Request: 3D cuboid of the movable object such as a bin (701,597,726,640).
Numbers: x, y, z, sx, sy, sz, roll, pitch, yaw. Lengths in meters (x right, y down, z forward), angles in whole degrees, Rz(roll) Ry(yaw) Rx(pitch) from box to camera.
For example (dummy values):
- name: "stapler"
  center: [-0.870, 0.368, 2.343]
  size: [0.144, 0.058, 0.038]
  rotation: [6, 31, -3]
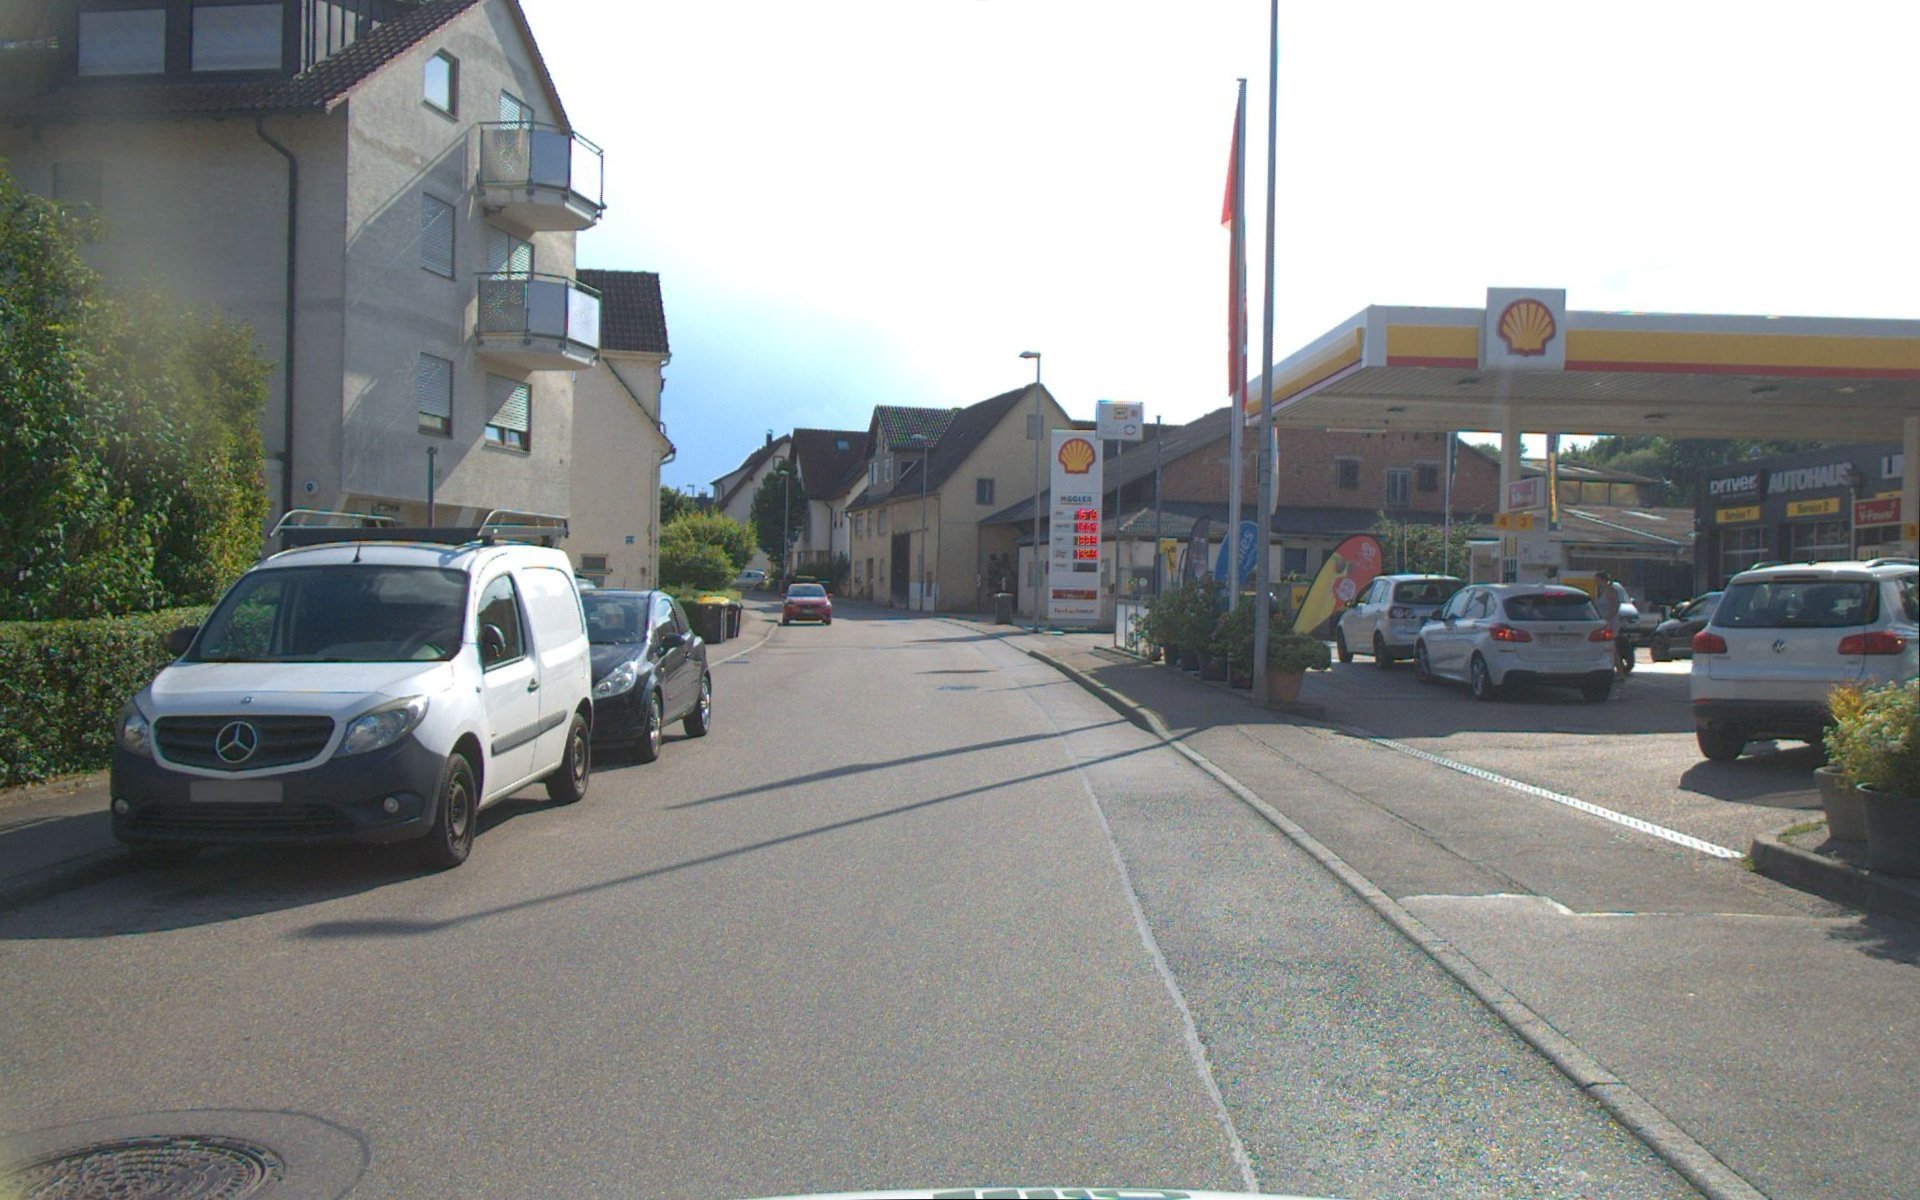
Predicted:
- name: "movable object such as a bin"
  center: [-6.410, 0.477, 43.006]
  size: [0.576, 1.103, 0.508]
  rotation: [-1, 1, -2]

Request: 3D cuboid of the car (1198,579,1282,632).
- name: "car"
  center: [8.303, 0.134, 49.317]
  size: [1.546, 1.452, 4.379]
  rotation: [2, 1, -3]

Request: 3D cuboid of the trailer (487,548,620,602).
- name: "trailer"
  center: [-8.139, -0.481, 33.280]
  size: [1.302, 0.870, 2.893]
  rotation: [3, -1, 16]

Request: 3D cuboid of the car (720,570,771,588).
- name: "car"
  center: [-16.715, -1.618, 128.952]
  size: [3.914, 1.376, 1.707]
  rotation: [1, 1, -10]

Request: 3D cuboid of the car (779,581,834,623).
- name: "car"
  center: [-5.594, 0.054, 60.104]
  size: [1.677, 1.460, 3.771]
  rotation: [-1, 0, -10]

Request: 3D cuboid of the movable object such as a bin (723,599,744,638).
- name: "movable object such as a bin"
  center: [-6.208, 0.513, 45.362]
  size: [0.521, 1.040, 0.457]
  rotation: [-1, 1, -2]

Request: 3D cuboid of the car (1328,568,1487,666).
- name: "car"
  center: [7.794, 0.245, 29.165]
  size: [1.638, 1.605, 3.998]
  rotation: [0, 1, -1]

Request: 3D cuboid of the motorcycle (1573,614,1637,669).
- name: "motorcycle"
  center: [10.949, 0.690, 28.120]
  size: [0.385, 0.889, 1.812]
  rotation: [1, 0, 1]

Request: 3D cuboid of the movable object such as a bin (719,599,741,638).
- name: "movable object such as a bin"
  center: [-6.227, 0.494, 44.850]
  size: [0.521, 1.040, 0.457]
  rotation: [-1, 1, -2]

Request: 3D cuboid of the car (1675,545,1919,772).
- name: "car"
  center: [7.919, 0.403, 14.432]
  size: [4.046, 1.703, 1.650]
  rotation: [-2, 1, -44]

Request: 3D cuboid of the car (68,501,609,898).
- name: "car"
  center: [-3.437, 0.455, 10.065]
  size: [1.681, 1.905, 4.192]
  rotation: [0, 1, 0]

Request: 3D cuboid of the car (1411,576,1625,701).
- name: "car"
  center: [7.857, 0.475, 23.667]
  size: [1.638, 1.605, 3.998]
  rotation: [0, 1, -1]

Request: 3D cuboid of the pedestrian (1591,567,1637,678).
- name: "pedestrian"
  center: [10.156, 0.339, 25.696]
  size: [0.490, 1.699, 0.534]
  rotation: [1, 0, -1]

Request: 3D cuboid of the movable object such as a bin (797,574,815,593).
- name: "movable object such as a bin"
  center: [-10.137, -1.080, 108.895]
  size: [1.141, 1.188, 0.653]
  rotation: [1, 1, -13]

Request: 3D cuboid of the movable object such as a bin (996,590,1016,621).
- name: "movable object such as a bin"
  center: [1.675, 0.202, 60.290]
  size: [0.640, 1.092, 0.512]
  rotation: [1, 1, -4]

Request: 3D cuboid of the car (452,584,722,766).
- name: "car"
  center: [-3.327, 0.598, 15.450]
  size: [1.638, 1.477, 3.834]
  rotation: [0, 1, 0]

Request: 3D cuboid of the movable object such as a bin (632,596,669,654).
- name: "movable object such as a bin"
  center: [-6.052, 0.483, 32.361]
  size: [0.558, 1.089, 0.557]
  rotation: [3, 0, -2]

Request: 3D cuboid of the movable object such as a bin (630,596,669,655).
- name: "movable object such as a bin"
  center: [-5.945, 0.482, 31.680]
  size: [0.587, 1.089, 0.618]
  rotation: [3, 0, -2]

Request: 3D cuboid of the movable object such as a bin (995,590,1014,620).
- name: "movable object such as a bin"
  center: [1.653, 0.177, 60.830]
  size: [0.640, 1.092, 0.512]
  rotation: [1, 1, -4]

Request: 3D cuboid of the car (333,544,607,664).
- name: "car"
  center: [-8.118, 0.049, 27.551]
  size: [3.904, 1.564, 1.764]
  rotation: [5, 1, 10]
